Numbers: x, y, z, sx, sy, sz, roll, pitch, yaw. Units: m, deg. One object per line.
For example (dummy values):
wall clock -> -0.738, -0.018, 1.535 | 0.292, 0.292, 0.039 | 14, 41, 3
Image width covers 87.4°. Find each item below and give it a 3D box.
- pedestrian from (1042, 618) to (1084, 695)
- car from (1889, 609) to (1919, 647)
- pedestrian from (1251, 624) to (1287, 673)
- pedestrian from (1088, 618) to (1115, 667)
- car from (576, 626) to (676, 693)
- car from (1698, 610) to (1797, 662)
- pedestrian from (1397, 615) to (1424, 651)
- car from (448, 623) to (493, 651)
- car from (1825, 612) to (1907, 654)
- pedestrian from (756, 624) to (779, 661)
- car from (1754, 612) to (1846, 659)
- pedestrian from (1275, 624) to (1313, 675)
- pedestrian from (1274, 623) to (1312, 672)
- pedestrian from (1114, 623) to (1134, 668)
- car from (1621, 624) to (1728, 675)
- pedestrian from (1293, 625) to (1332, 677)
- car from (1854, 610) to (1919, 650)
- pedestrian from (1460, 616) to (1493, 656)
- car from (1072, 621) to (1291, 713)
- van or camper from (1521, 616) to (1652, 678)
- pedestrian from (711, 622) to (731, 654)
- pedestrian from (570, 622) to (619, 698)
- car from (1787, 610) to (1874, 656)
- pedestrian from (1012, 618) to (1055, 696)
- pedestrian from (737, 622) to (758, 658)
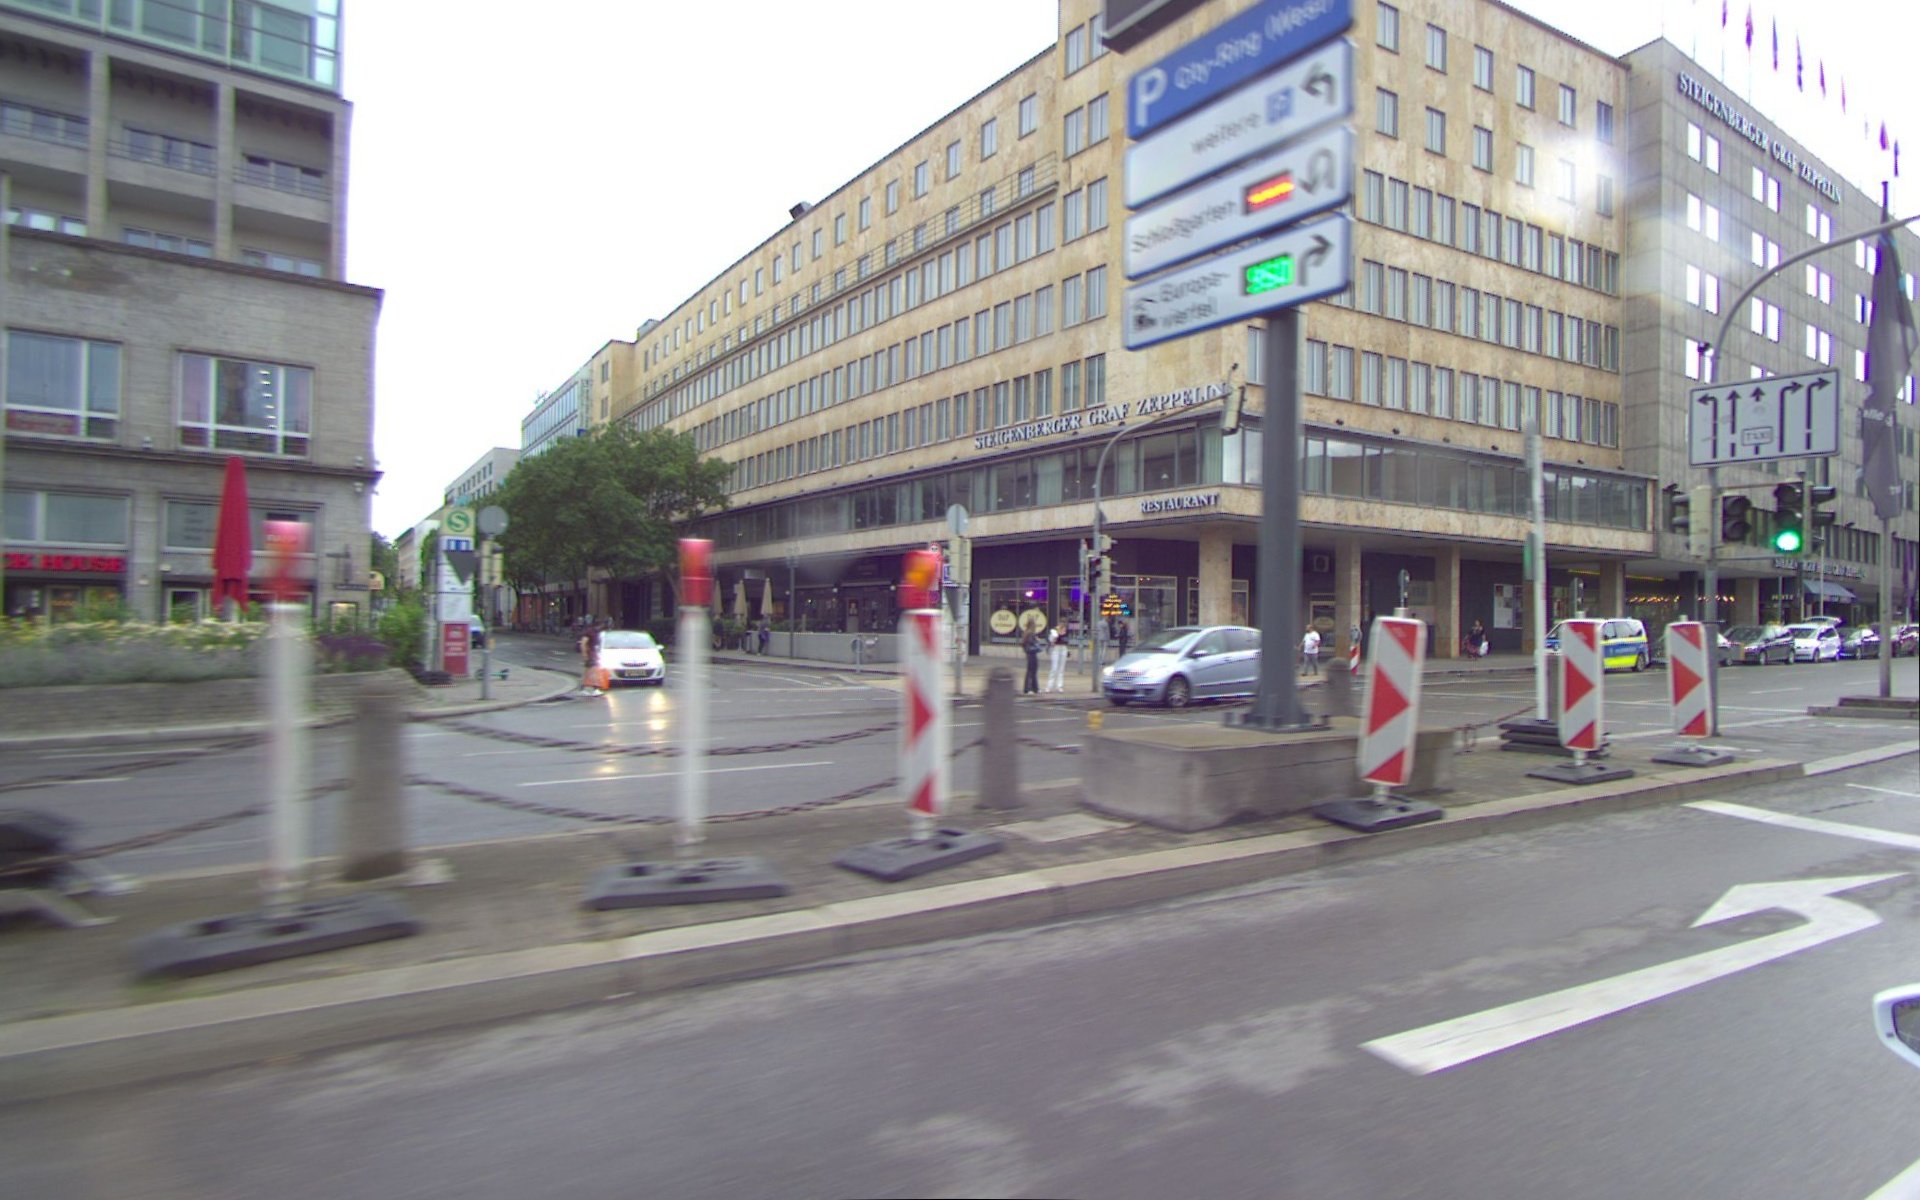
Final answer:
pedestrian -> 2.307, 1.261, 22.618 | 0.686, 1.694, 0.758 | 0, -2, -19
car -> 53.349, 1.540, 55.401 | 4.366, 2.040, 1.983 | 1, -2, -32
pedestrian -> 10.192, 1.578, 33.101 | 0.884, 1.578, 0.718 | 1, -2, -31
pedestrian -> 5.351, 1.605, 37.968 | 0.687, 1.827, 0.757 | -1, -2, 40
car -> -9.247, 1.581, 27.645 | 1.698, 1.692, 3.965 | 1, -2, -33
car -> 32.935, 1.493, 41.991 | 3.955, 2.040, 1.983 | 1, -2, -32
pedestrian -> 20.011, 1.462, 44.618 | 0.708, 1.546, 0.791 | 1, -2, -30
car -> -27.277, 2.046, 55.902 | 1.698, 1.483, 3.963 | 1, -2, -34
car -> 44.871, 1.630, 49.743 | 3.955, 2.040, 1.983 | 1, -2, -32
pedestrian -> -8.814, 1.929, 46.022 | 0.826, 1.694, 0.698 | 1, -2, -31
car -> 37.791, 1.595, 45.191 | 4.117, 2.040, 1.983 | 1, -2, -32
pedestrian -> 10.504, 1.550, 31.624 | 0.895, 1.578, 0.718 | 1, -2, -31
pedestrian -> 11.135, 1.579, 33.588 | 0.993, 1.578, 0.718 | 1, -2, -31
pedestrian -> 6.234, 1.717, 38.138 | 0.637, 1.665, 0.697 | -1, -2, 18
car -> 27.563, 1.888, 38.753 | 3.955, 1.862, 1.983 | 1, -2, -32
pedestrian -> 10.876, 1.557, 31.016 | 0.884, 1.578, 0.718 | 1, -2, -31
car -> 49.078, 1.578, 52.824 | 3.955, 2.040, 1.983 | 1, -2, -32
pedestrian -> 20.187, 1.410, 39.275 | 0.905, 1.546, 0.791 | 1, -2, -30
car -> 4.383, 1.240, 19.705 | 4.180, 1.630, 1.759 | 1, -2, -32
van or camper -> 22.056, 1.606, 35.306 | 4.911, 2.040, 1.982 | 1, -2, -33
pedestrian -> -12.478, 1.982, 52.509 | 0.828, 1.694, 0.873 | 1, -2, -28
pedestrian -> -8.350, 1.362, 22.942 | 0.918, 1.694, 0.698 | 1, -2, -31
car -> 40.699, 1.548, 46.962 | 3.955, 2.040, 1.983 | 1, -2, -32
pedestrian -> 1.627, 1.247, 22.369 | 0.692, 1.694, 0.832 | 0, -2, -19
pedestrian -> -10.149, 1.888, 47.968 | 0.826, 1.694, 0.698 | 1, -2, -31
